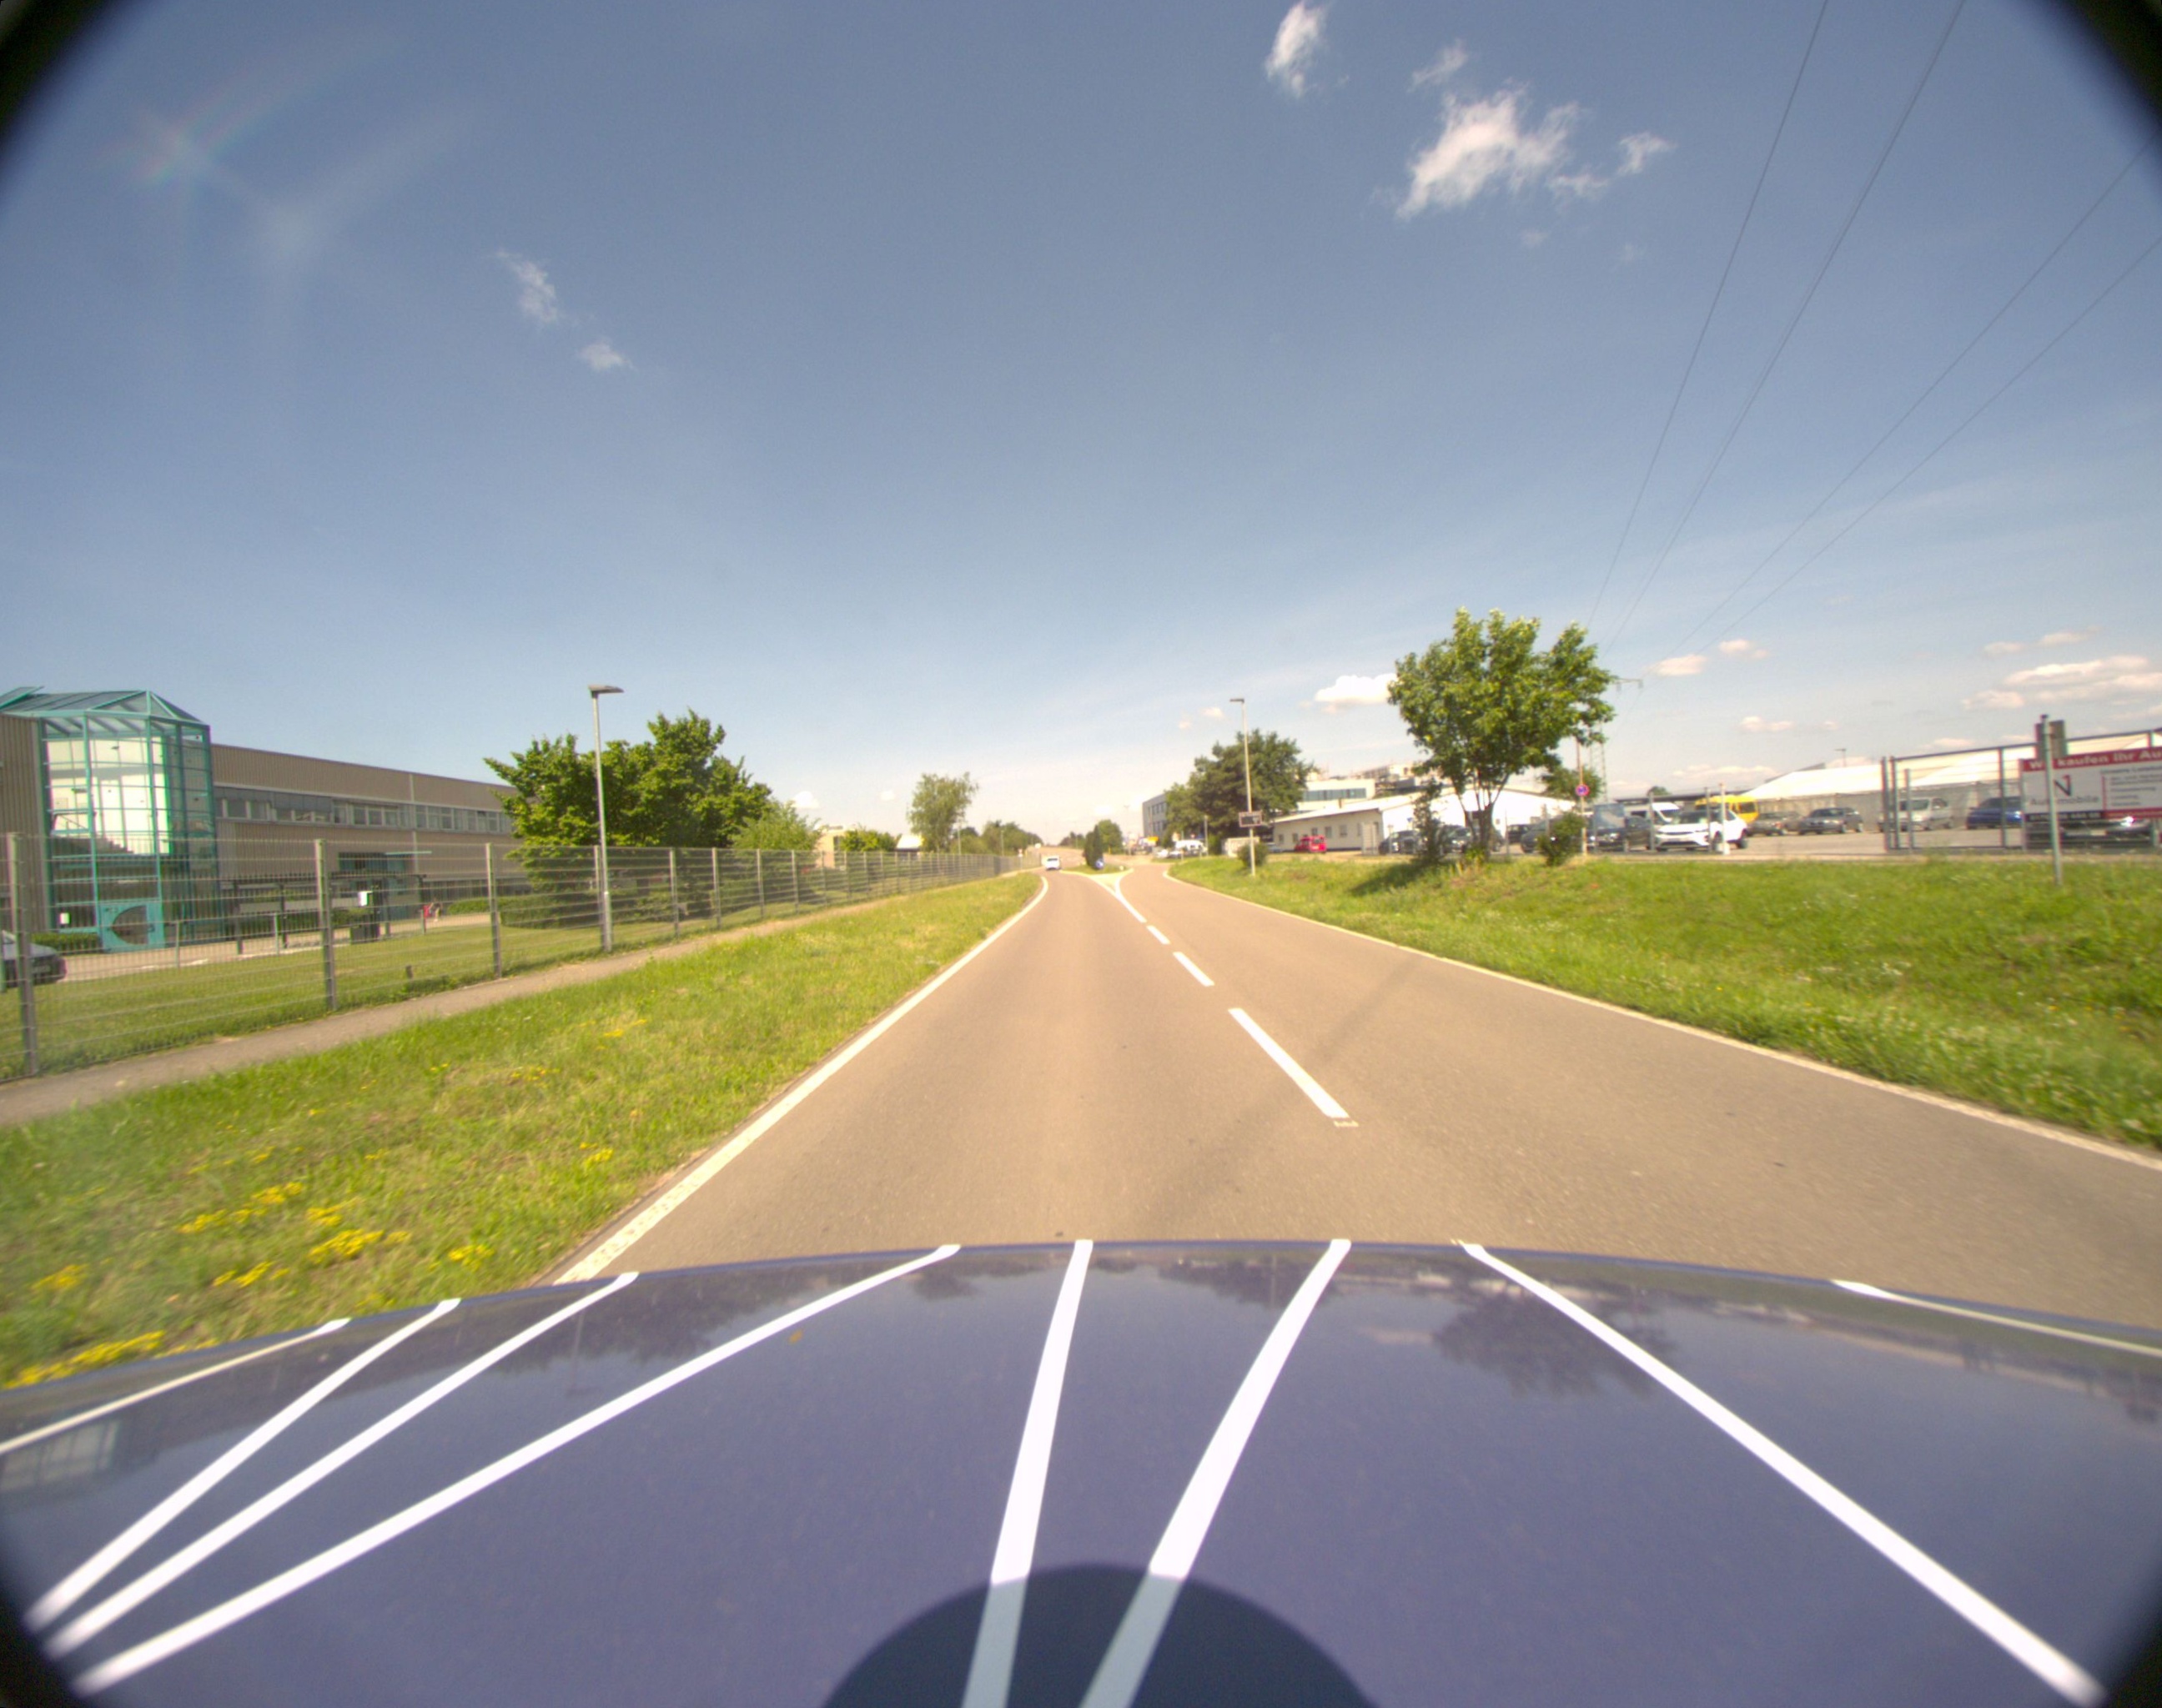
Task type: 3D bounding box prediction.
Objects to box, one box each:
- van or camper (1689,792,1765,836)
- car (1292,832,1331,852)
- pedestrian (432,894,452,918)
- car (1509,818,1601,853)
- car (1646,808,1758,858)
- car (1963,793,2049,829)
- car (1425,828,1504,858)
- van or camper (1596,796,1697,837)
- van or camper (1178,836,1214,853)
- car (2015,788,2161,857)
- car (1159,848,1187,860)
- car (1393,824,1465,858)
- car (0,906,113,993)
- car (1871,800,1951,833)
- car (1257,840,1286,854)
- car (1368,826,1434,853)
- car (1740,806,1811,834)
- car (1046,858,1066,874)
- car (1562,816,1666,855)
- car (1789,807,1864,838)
[{"bbox_3d":[38.541,-2.389,45.283,5.348,2.361,1.890,-4,1,-33],"label":"van or camper"},{"bbox_3d":[22.022,-1.111,72.846,1.999,1.734,4.227,-3,0,-6],"label":"car"},{"bbox_3d":[-38.095,3.105,45.304,0.515,1.383,0.730,-4,1,-4],"label":"pedestrian"},{"bbox_3d":[21.368,-0.835,34.207,4.006,1.302,1.938,-4,0,-33],"label":"car"},{"bbox_3d":[22.433,-0.777,27.418,4.006,1.531,1.938,-4,0,-33],"label":"car"},{"bbox_3d":[40.733,-1.909,33.444,4.006,1.302,1.938,-4,0,-33],"label":"car"},{"bbox_3d":[20.462,-0.597,40.506,4.006,1.302,1.938,-4,0,-33],"label":"car"},{"bbox_3d":[41.877,-2.728,56.538,1.999,2.584,6.767,-4,0,-4],"label":"van or camper"},{"bbox_3d":[19.229,-1.613,127.018,5.576,2.483,2.081,-3,1,23],"label":"van or camper"},{"bbox_3d":[23.053,-0.734,17.219,4.006,1.302,1.938,-4,0,-33],"label":"car"},{"bbox_3d":[14.064,0.015,115.855,3.996,1.510,2.000,-3,1,2],"label":"car"},{"bbox_3d":[19.969,-0.757,43.584,4.115,1.695,1.719,-4,1,-33],"label":"car"},{"bbox_3d":[-23.799,2.124,15.940,3.999,1.630,1.999,-4,0,-6],"label":"car"},{"bbox_3d":[40.073,-1.816,36.672,4.006,1.302,1.938,-4,0,-33],"label":"car"},{"bbox_3d":[21.569,-0.777,86.201,1.999,1.400,4.515,-4,0,-2],"label":"car"},{"bbox_3d":[19.640,-0.893,46.587,3.574,1.393,1.797,-4,1,-28],"label":"car"},{"bbox_3d":[38.604,-1.885,42.215,4.006,1.302,1.938,-4,0,-33],"label":"car"},{"bbox_3d":[-3.298,1.572,100.864,1.997,1.904,4.001,-3,1,6],"label":"car"},{"bbox_3d":[21.559,-0.761,30.712,4.005,1.302,1.938,-4,0,-31],"label":"car"},{"bbox_3d":[38.985,-1.646,39.709,4.006,1.302,1.938,-4,0,-33],"label":"car"}]
